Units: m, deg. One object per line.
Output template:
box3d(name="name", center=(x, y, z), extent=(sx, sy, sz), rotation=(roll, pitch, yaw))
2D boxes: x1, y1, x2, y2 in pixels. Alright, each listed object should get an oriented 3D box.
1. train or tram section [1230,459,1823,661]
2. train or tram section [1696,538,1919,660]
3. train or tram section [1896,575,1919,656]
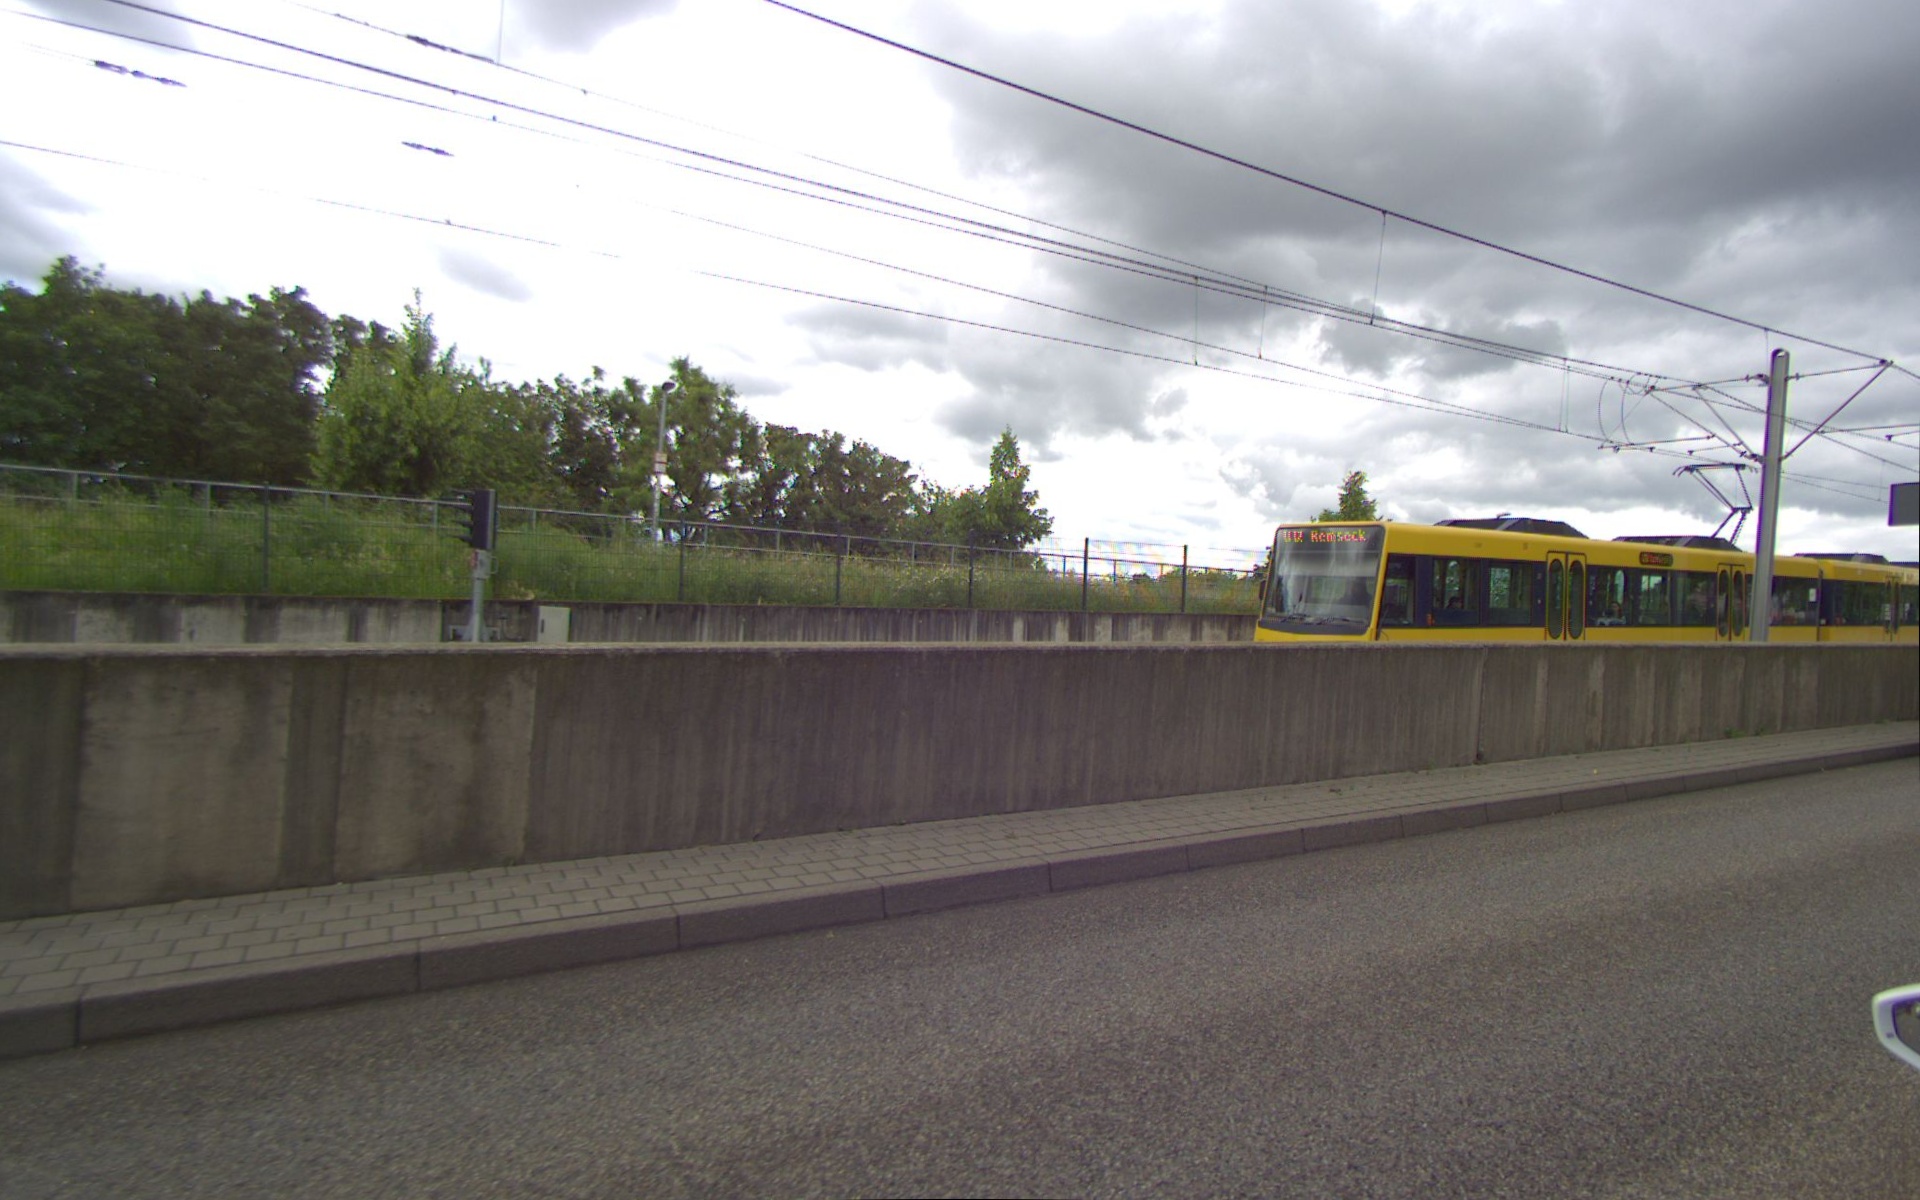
box3d(name="train or tram section", center=(13.527, -0.325, 21.978), extent=(18.708, 3.158, 2.796), rotation=(2, -1, -32))
box3d(name="train or tram section", center=(29.072, 0.283, 32.159), extent=(18.907, 3.117, 2.786), rotation=(2, -1, -35))
box3d(name="train or tram section", center=(44.255, 0.887, 43.315), extent=(19.137, 3.065, 2.779), rotation=(2, -1, -38))
